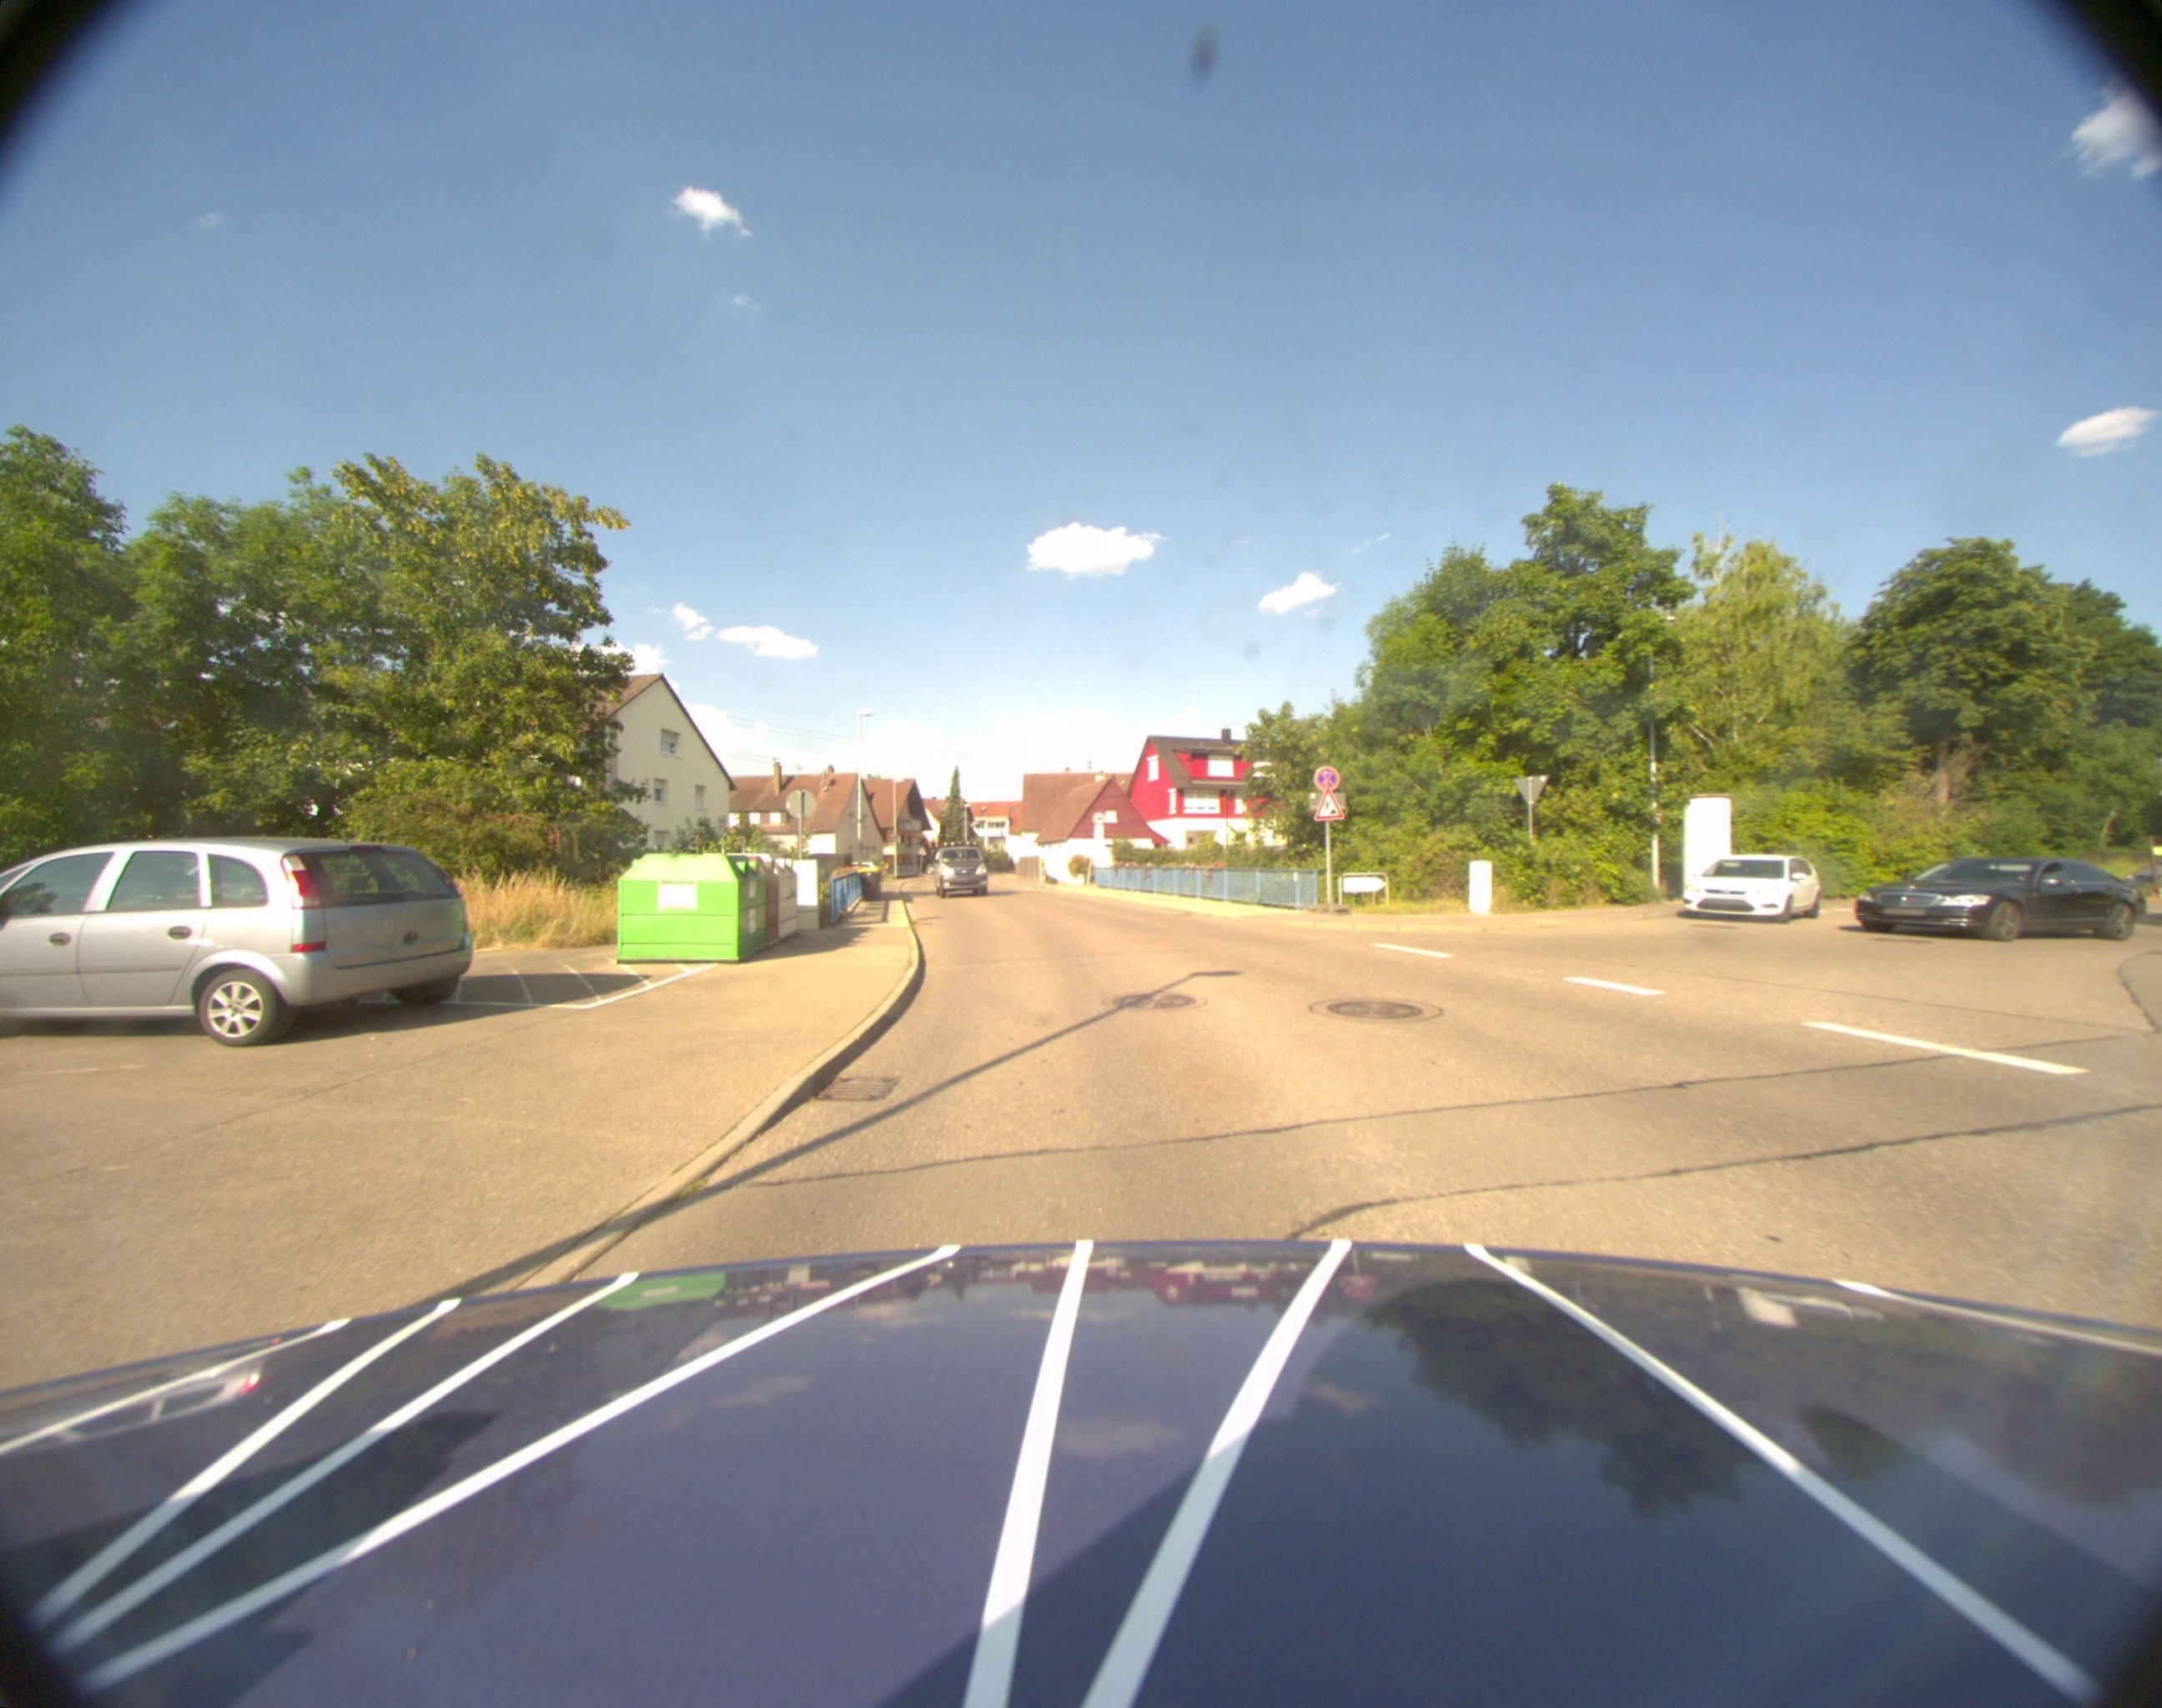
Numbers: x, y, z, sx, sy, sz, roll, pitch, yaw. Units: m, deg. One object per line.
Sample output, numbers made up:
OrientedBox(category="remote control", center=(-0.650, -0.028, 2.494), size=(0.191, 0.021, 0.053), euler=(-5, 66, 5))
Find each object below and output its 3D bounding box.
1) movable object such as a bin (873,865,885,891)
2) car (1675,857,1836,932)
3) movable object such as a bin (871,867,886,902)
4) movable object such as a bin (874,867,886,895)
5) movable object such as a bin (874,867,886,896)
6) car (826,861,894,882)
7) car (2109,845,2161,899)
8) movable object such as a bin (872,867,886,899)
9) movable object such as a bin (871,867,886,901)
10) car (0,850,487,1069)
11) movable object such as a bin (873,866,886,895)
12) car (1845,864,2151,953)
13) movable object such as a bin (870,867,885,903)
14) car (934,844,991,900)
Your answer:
OrientedBox(category="movable object such as a bin", center=(-8.963, 1.062, 33.746), size=(0.480, 1.136, 0.538), euler=(0, 0, -14))
OrientedBox(category="car", center=(15.566, 0.830, 17.480), size=(4.283, 1.483, 1.857), euler=(0, 1, -36))
OrientedBox(category="movable object such as a bin", center=(-6.747, 1.020, 25.355), size=(0.480, 1.136, 0.538), euler=(0, 0, -14))
OrientedBox(category="movable object such as a bin", center=(-8.333, 1.124, 31.463), size=(0.480, 1.136, 0.538), euler=(0, 0, -14))
OrientedBox(category="movable object such as a bin", center=(-8.013, 1.076, 30.283), size=(0.480, 1.136, 0.538), euler=(0, 0, -14))
OrientedBox(category="car", center=(-16.243, 1.258, 55.894), size=(4.473, 1.449, 1.731), euler=(-1, 0, 5))
OrientedBox(category="car", center=(35.011, 0.555, 23.470), size=(4.040, 1.650, 1.771), euler=(0, 1, 1))
OrientedBox(category="movable object such as a bin", center=(-7.403, 1.062, 27.809), size=(0.480, 1.136, 0.538), euler=(0, 0, -14))
OrientedBox(category="movable object such as a bin", center=(-6.898, 1.012, 25.907), size=(0.480, 1.136, 0.538), euler=(0, 0, -14))
OrientedBox(category="car", center=(-7.665, 0.775, 6.422), size=(3.949, 1.594, 1.682), euler=(0, 1, 1))
OrientedBox(category="movable object such as a bin", center=(-7.876, 1.036, 29.714), size=(0.480, 1.136, 0.538), euler=(0, 0, -14))
OrientedBox(category="car", center=(17.018, 0.936, 14.141), size=(4.847, 1.423, 1.769), euler=(0, 1, -15))
OrientedBox(category="movable object such as a bin", center=(-6.641, 1.005, 24.821), size=(0.480, 1.136, 0.538), euler=(0, 0, -14))
OrientedBox(category="car", center=(-4.898, 0.653, 30.996), size=(1.822, 1.989, 4.814), euler=(-3, 1, -13))
